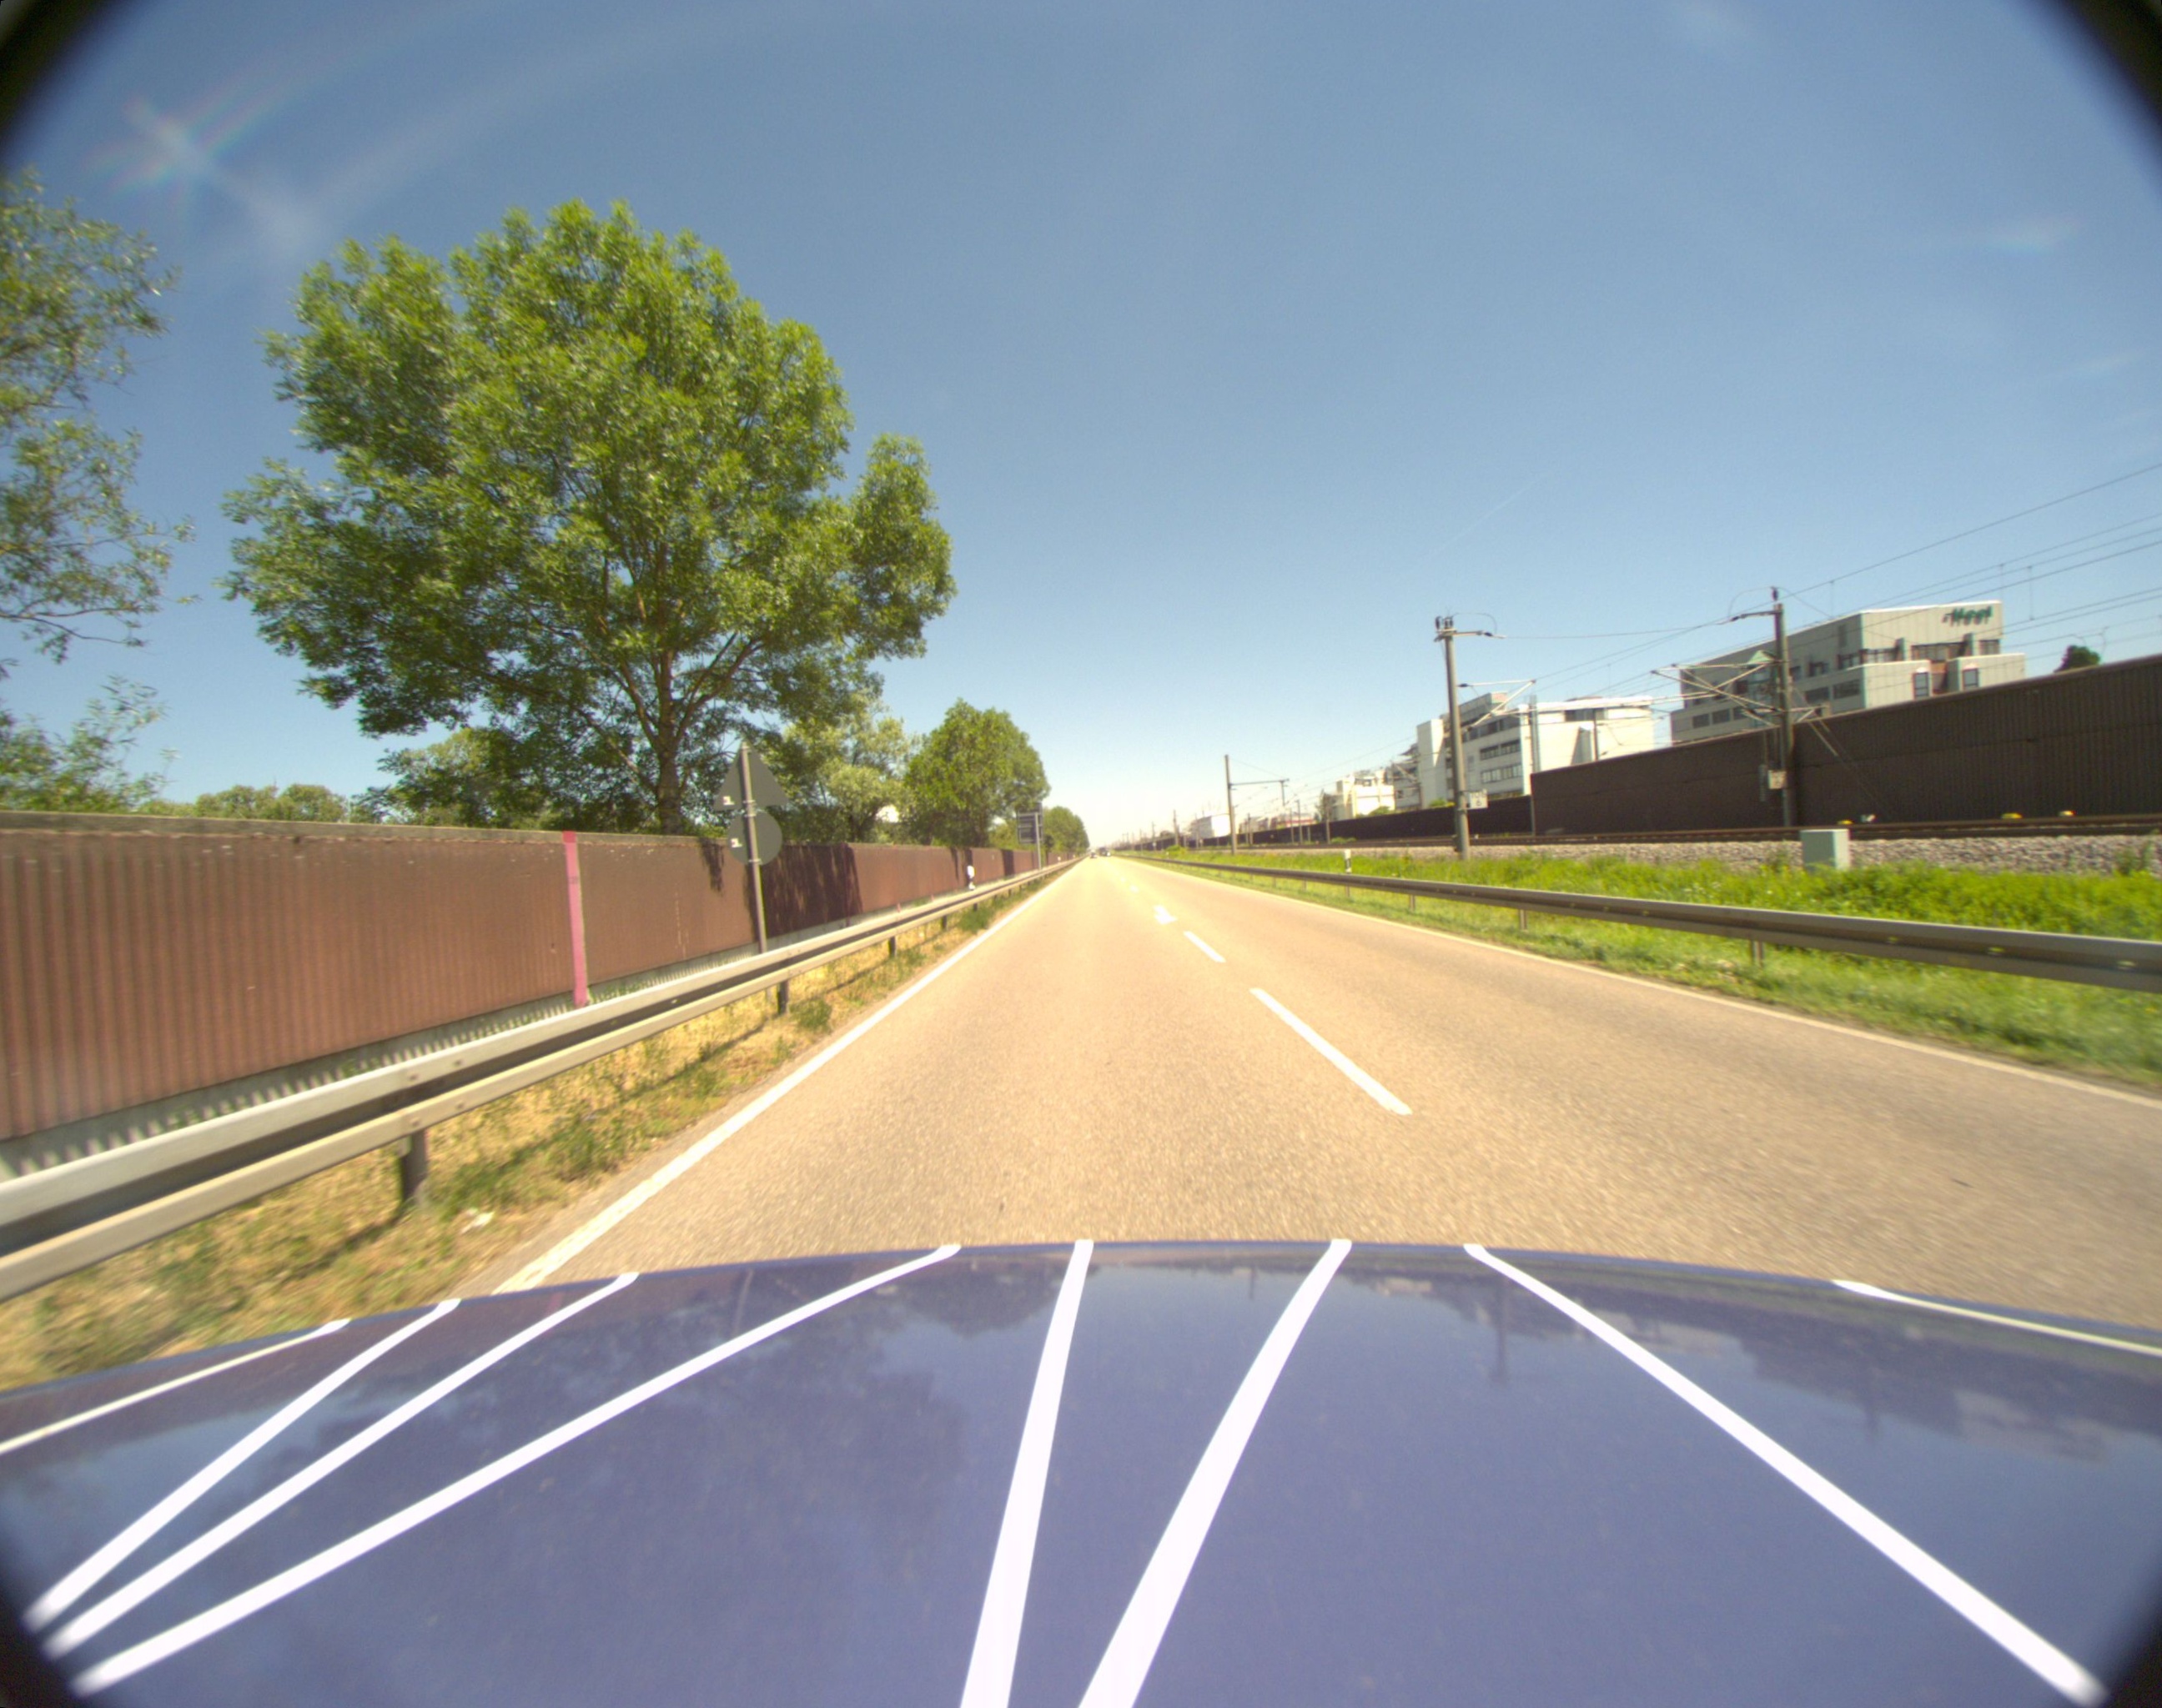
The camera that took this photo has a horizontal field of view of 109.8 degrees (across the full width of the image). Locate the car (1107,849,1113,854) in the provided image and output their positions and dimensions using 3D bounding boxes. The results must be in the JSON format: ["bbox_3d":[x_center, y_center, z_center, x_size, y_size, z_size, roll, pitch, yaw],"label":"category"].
[{"bbox_3d":[9.133,-0.906,241.755,1.803,1.455,4.000,-3,0,2],"label":"car"}]

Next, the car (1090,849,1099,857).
[{"bbox_3d":[3.442,-0.333,193.923,1.998,2.002,4.001,-3,1,4],"label":"car"}]
